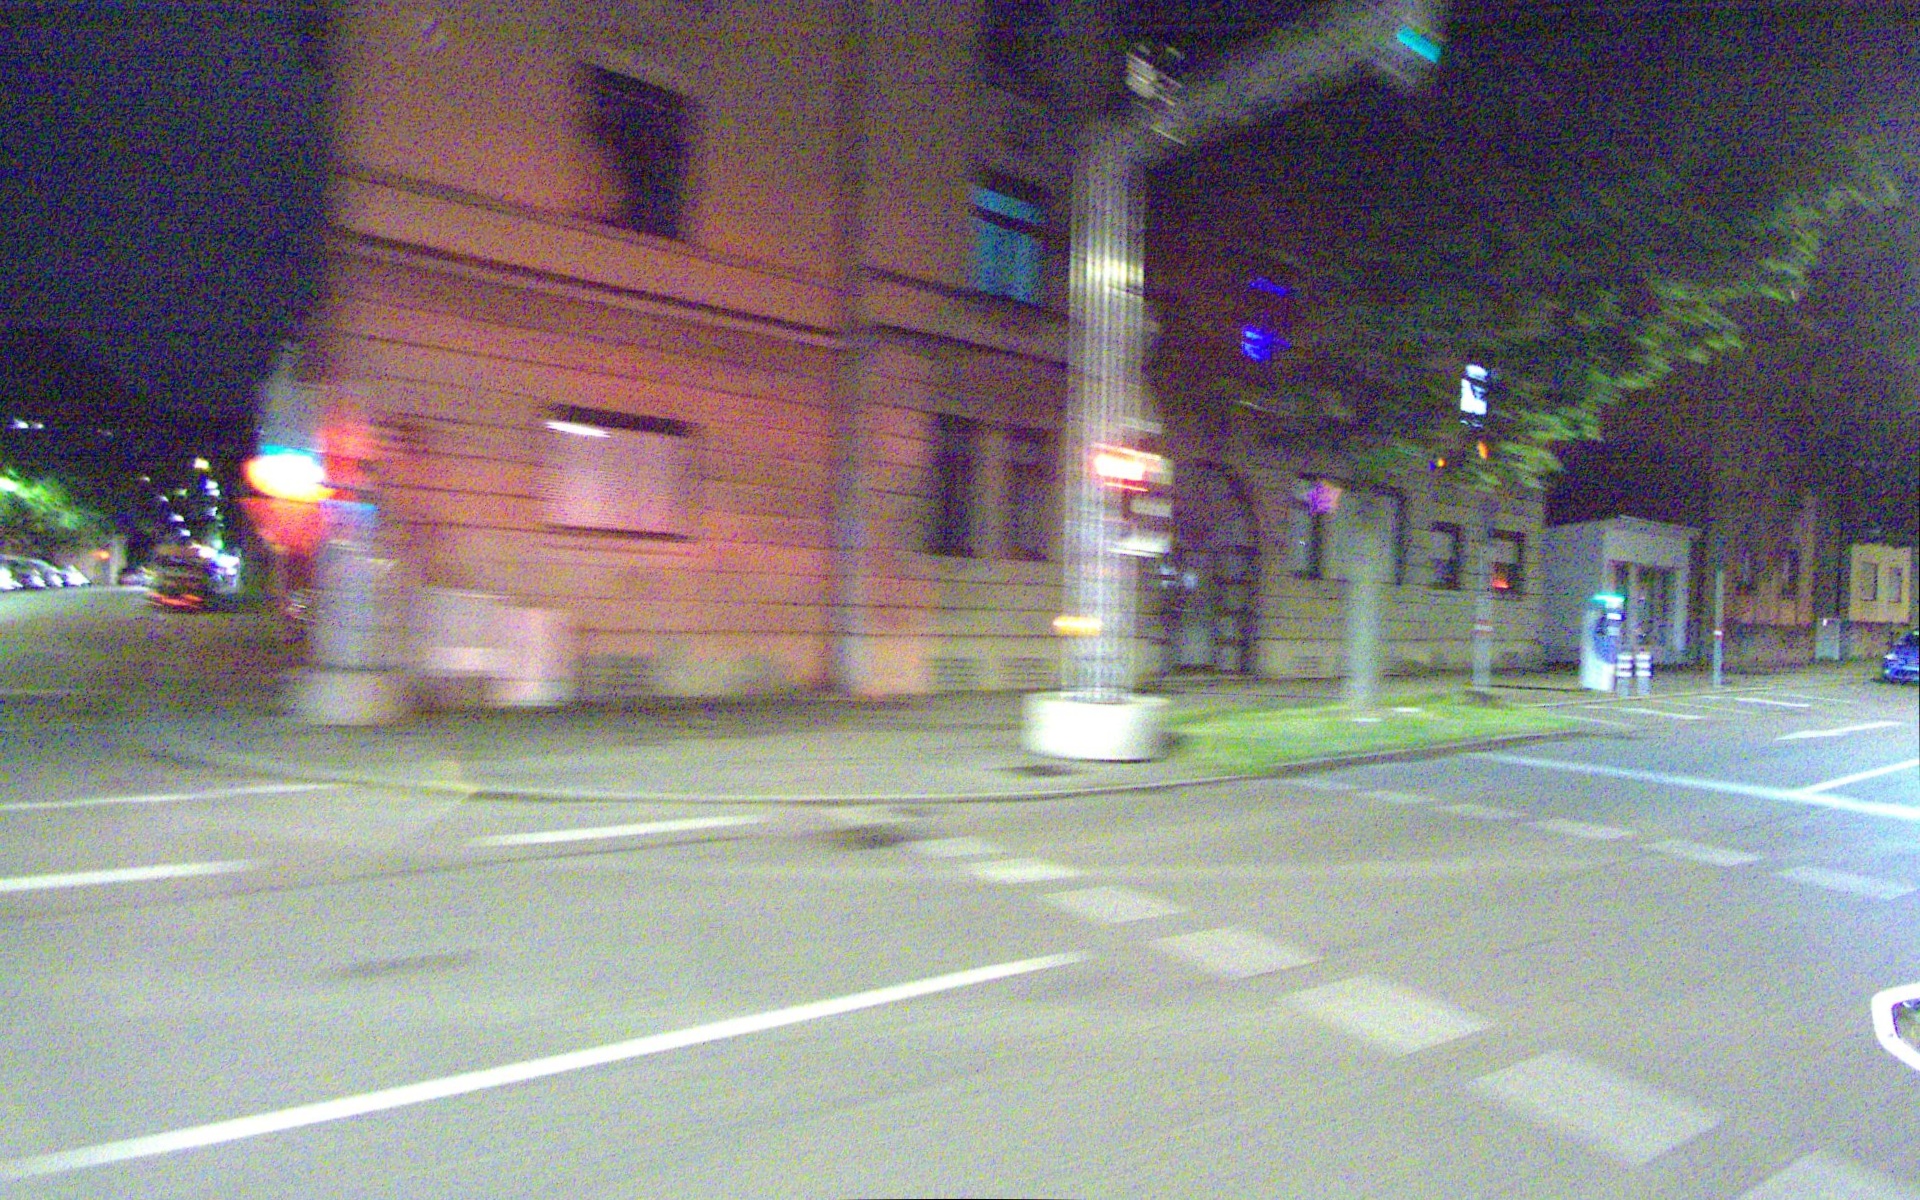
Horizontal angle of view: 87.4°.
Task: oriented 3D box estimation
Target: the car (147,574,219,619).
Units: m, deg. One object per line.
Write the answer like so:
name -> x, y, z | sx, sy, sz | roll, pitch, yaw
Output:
car -> -29.125, -0.134, 37.778 | 1.905, 1.535, 5.053 | 2, -1, -35

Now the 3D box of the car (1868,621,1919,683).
car -> 25.340, 1.340, 26.144 | 3.950, 1.514, 1.702 | 1, 1, -35

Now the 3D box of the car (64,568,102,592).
car -> -68.163, -1.588, 78.142 | 1.877, 1.699, 4.341 | 4, -1, -38

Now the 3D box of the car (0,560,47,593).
car -> -53.924, -1.378, 57.569 | 1.877, 1.699, 4.722 | 4, -1, -38

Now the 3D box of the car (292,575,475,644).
car -> -14.898, 0.270, 26.027 | 3.958, 1.662, 1.982 | 2, -1, -33

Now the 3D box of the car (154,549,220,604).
car -> -35.701, -1.033, 46.509 | 2.148, 2.364, 5.668 | 2, 0, -35

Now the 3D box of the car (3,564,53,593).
car -> -59.186, -1.368, 63.855 | 1.877, 1.699, 4.341 | 3, -1, -38

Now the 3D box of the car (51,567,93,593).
car -> -63.631, -1.419, 72.064 | 1.877, 1.699, 4.341 | 4, -1, -38

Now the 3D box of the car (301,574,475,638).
car -> -16.119, 0.195, 28.386 | 4.141, 1.662, 1.982 | 2, -1, -33

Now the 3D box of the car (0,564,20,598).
car -> -50.700, -1.080, 52.456 | 1.877, 1.699, 4.341 | 4, -1, -38
